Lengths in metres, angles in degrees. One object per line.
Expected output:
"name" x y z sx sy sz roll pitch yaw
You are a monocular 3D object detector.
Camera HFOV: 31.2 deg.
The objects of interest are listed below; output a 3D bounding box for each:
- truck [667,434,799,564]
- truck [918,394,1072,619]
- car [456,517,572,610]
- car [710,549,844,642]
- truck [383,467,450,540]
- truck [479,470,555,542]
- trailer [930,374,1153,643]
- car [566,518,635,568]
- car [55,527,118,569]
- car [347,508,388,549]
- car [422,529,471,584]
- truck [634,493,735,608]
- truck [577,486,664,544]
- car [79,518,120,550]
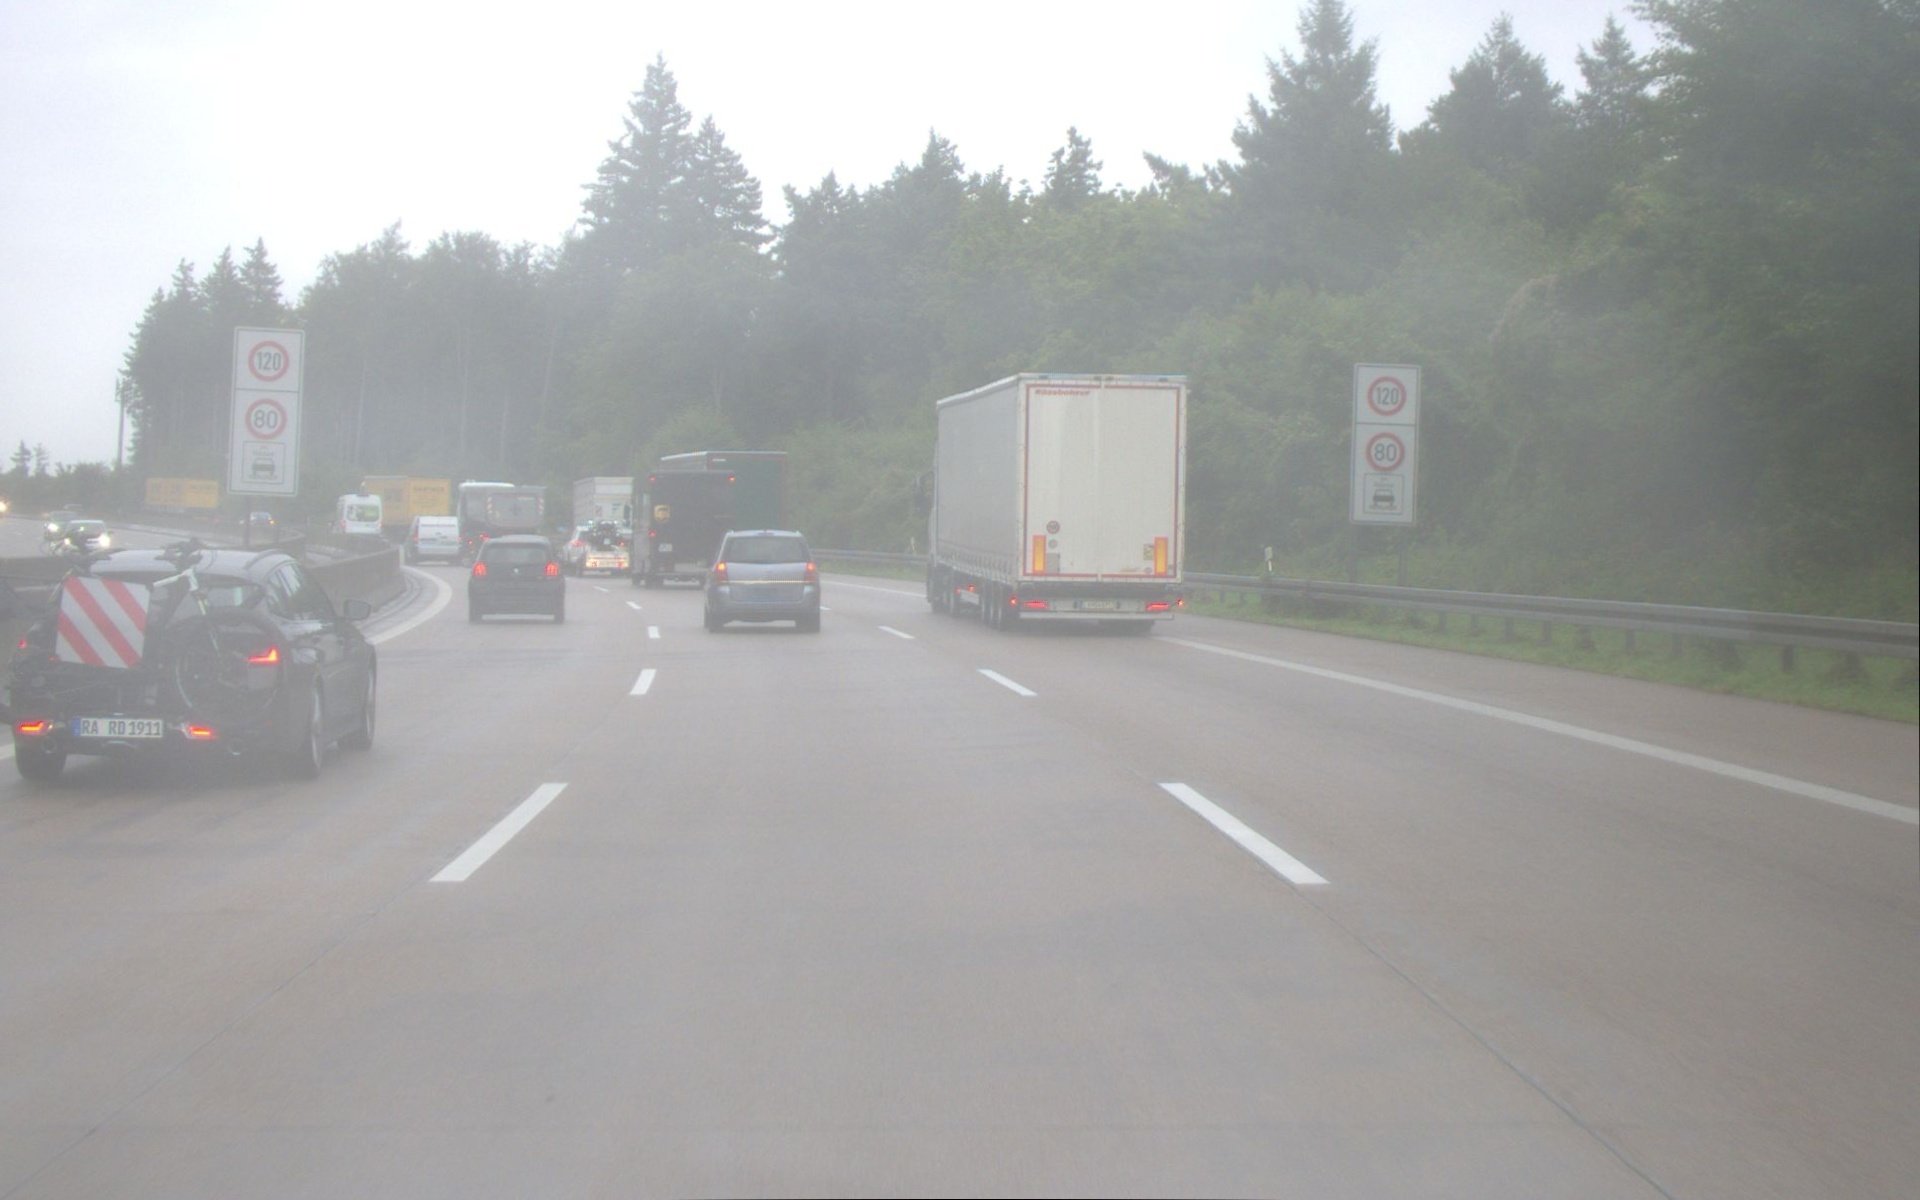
"truck" -7.658 -3.341 114.568 3.368 4.117 10.440 0 1 -9
"truck" 0.614 -1.763 64.916 2.419 4.054 4.979 1 1 -5
"car" -7.586 -0.646 58.688 1.683 1.457 3.684 2 1 -4
"car" -2.870 -0.094 54.500 1.554 1.347 3.683 2 1 5
"truck" -32.181 -5.687 203.312 3.739 4.195 6.820 0 1 -10
"truck" -18.840 -4.023 146.001 3.082 2.895 7.905 1 2 -8
"trailer" 1.181 -1.547 58.189 2.419 4.054 12.057 1 1 -5
"car" -11.287 -1.795 108.173 1.881 1.468 4.001 2 1 -2
"car" -32.420 -1.939 127.689 1.776 1.513 4.001 0 1 -7
"car" -29.874 -3.591 173.241 1.993 2.052 4.001 0 1 -10
"car" -19.162 -1.619 128.390 1.725 2.007 3.658 0 1 -8
"truck" -7.482 -1.391 92.668 2.269 2.877 7.905 1 2 -8
"truck" -14.530 -3.633 146.925 2.973 2.301 6.669 2 1 -11
"car" -44.919 -3.467 179.528 1.776 1.633 4.001 0 1 -10
